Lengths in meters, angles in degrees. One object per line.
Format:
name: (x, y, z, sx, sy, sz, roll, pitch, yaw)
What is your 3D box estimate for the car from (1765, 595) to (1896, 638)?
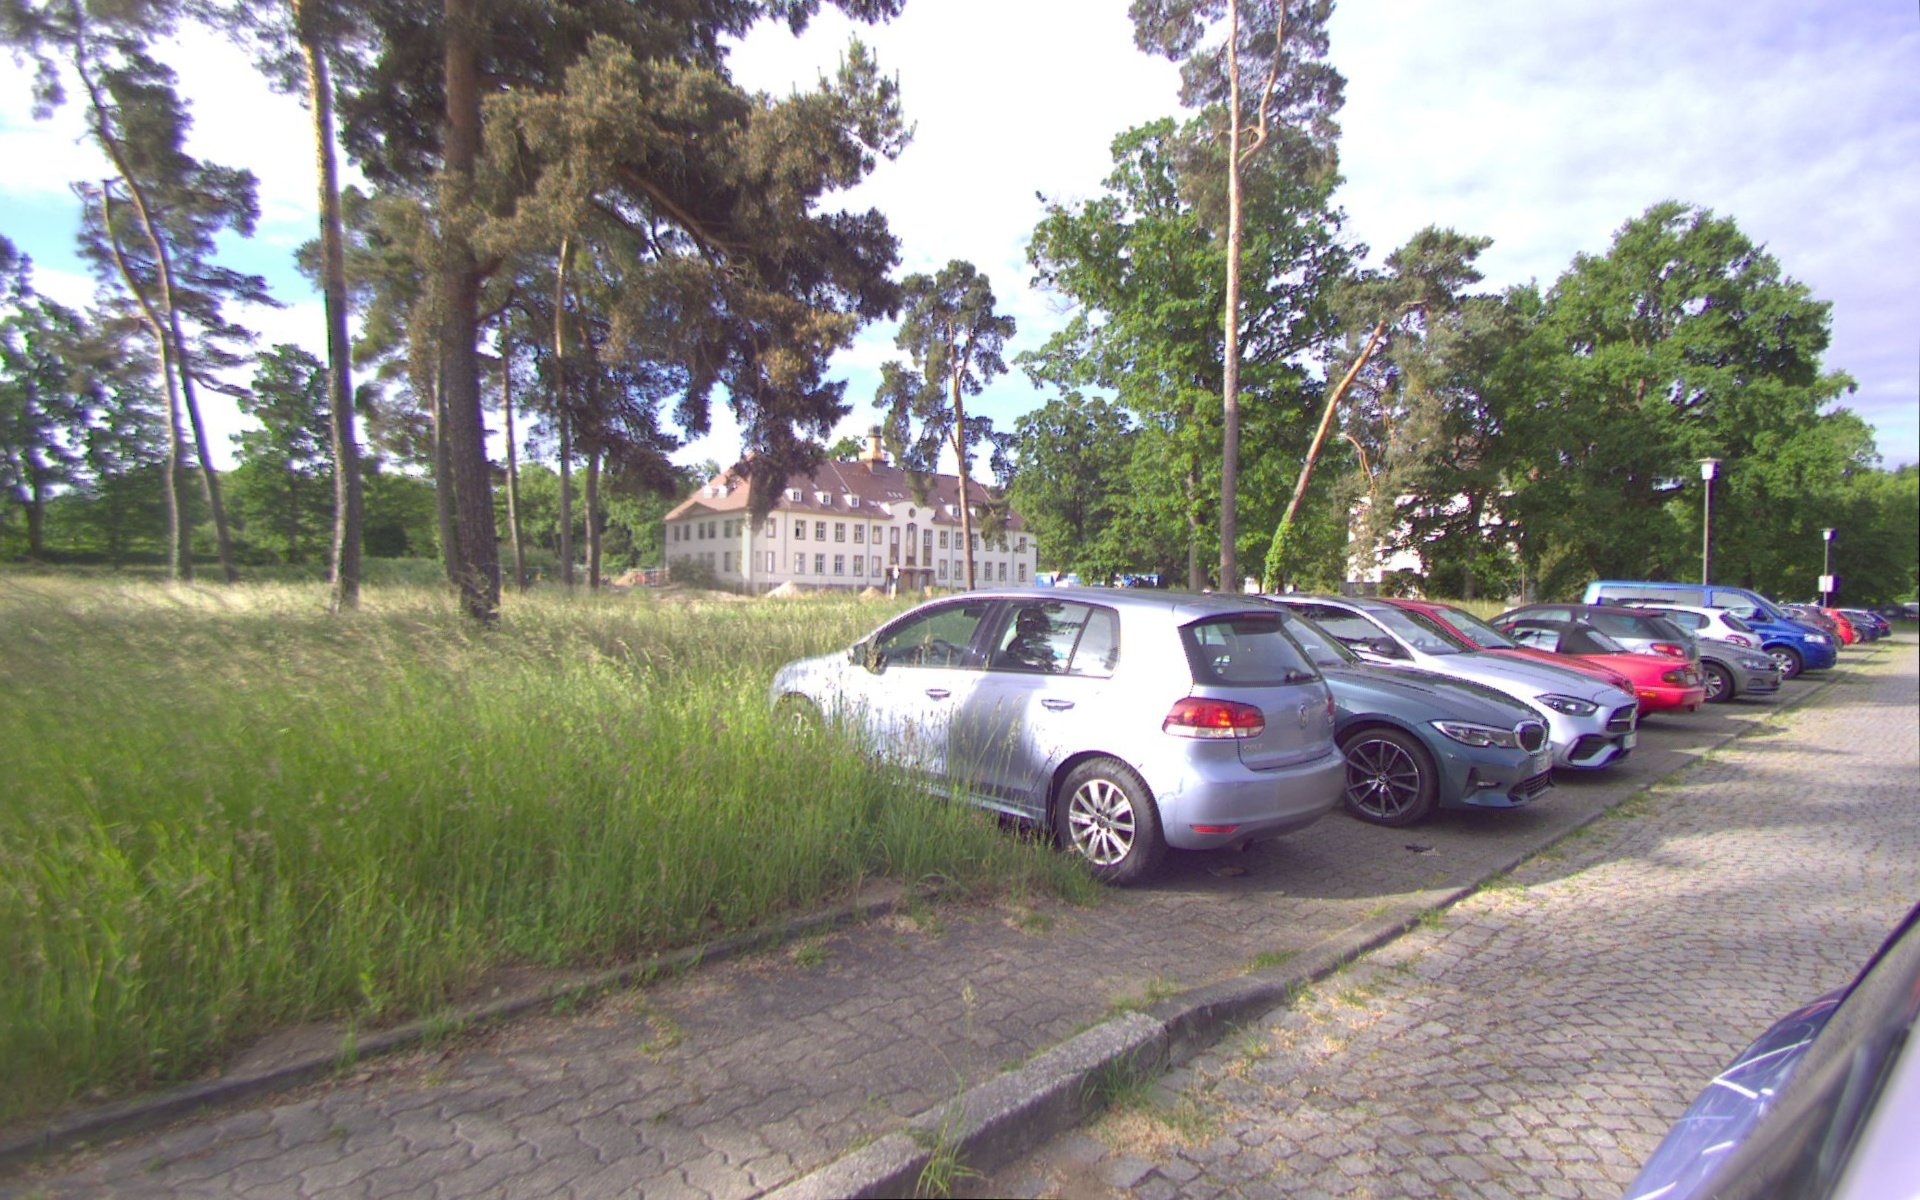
car: (37.408, 0.655, 43.548, 1.718, 1.588, 4.128, -1, 3, -45)

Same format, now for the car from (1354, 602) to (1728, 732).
car: (7.514, 0.756, 13.353, 1.698, 1.276, 3.955, -1, 3, -44)

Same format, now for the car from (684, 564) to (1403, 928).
car: (0.229, 0.569, 6.664, 4.545, 1.524, 1.903, 3, 3, 44)

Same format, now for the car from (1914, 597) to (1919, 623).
car: (77.265, 0.862, 78.250, 1.967, 2.066, 5.069, 1, 1, -45)

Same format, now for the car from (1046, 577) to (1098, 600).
car: (11.932, -1.191, 107.942, 5.860, 2.328, 2.165, 0, 1, -43)

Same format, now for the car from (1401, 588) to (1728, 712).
car: (9.099, 0.642, 15.448, 1.743, 1.513, 3.955, -1, 3, -44)

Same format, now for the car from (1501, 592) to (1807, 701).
car: (11.560, 0.669, 17.040, 1.801, 1.485, 3.955, -1, 3, -44)

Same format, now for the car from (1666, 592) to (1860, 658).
car: (23.121, 0.652, 29.247, 4.193, 1.608, 1.848, 3, 3, 45)

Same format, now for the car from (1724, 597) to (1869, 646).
car: (30.138, 0.711, 36.512, 3.879, 1.491, 1.660, 4, 3, 45)

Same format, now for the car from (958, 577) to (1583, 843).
car: (2.283, 0.612, 8.255, 4.504, 1.491, 1.867, 3, 2, 42)

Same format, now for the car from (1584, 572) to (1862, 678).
car: (17.129, 0.456, 22.899, 4.737, 1.952, 1.960, 5, 4, 45)

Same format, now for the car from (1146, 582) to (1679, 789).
car: (4.275, 0.629, 10.127, 1.820, 1.491, 4.510, -1, 3, -45)

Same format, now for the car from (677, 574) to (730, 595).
car: (-27.025, -1.665, 106.734, 5.637, 2.039, 2.596, 2, 2, 39)

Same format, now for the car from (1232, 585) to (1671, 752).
car: (5.604, 0.632, 11.964, 1.712, 1.491, 4.344, -1, 3, -45)

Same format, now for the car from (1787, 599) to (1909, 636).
car: (40.855, 0.781, 46.628, 1.753, 1.468, 4.032, 0, 2, -42)

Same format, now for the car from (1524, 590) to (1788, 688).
car: (13.220, 0.654, 19.365, 1.778, 1.549, 3.878, -1, 3, -44)
